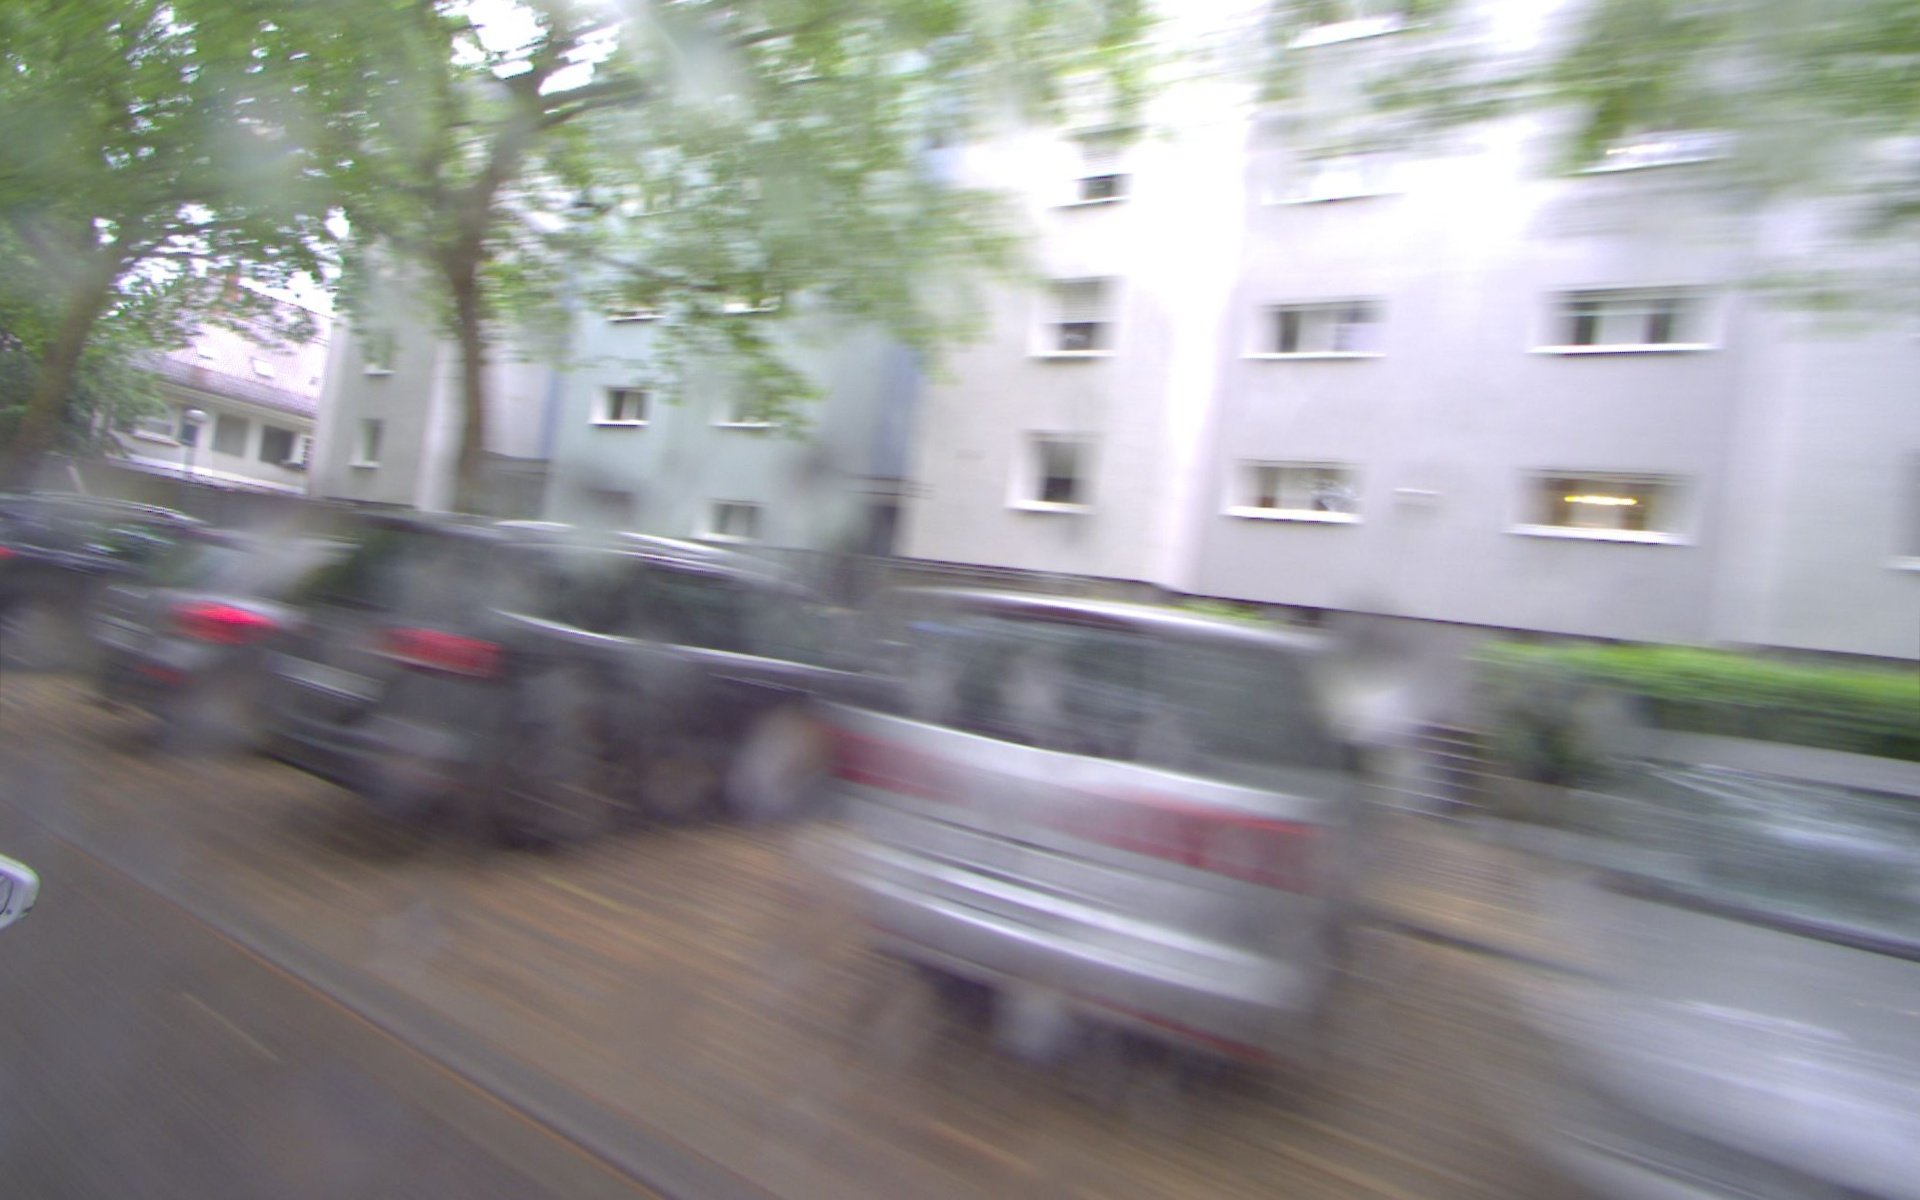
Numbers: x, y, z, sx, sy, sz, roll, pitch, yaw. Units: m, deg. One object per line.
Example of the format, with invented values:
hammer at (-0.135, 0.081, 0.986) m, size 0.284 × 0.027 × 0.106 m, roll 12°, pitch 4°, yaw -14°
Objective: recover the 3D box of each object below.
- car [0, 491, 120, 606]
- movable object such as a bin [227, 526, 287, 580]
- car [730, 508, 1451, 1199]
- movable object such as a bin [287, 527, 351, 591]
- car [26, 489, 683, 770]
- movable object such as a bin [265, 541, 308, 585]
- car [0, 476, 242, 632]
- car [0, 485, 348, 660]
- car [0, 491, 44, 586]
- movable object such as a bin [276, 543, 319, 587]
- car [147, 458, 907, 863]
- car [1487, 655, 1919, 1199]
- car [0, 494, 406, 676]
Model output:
car at (-15.220, -0.988, 14.701) m, size 1.750 × 1.547 × 4.053 m, roll 8°, pitch -2°, yaw 29°
movable object such as a bin at (-19.957, -1.326, 28.556) m, size 1.154 × 1.326 × 0.904 m, roll 8°, pitch -1°, yaw 32°
car at (1.073, 0.875, 4.849) m, size 1.771 × 1.746 × 3.997 m, roll 8°, pitch -3°, yaw 32°
movable object such as a bin at (-16.611, -1.068, 26.086) m, size 1.095 × 1.455 × 0.865 m, roll 8°, pitch -1°, yaw 32°
car at (-4.341, 0.368, 7.912) m, size 1.604 × 1.554 × 3.998 m, roll 8°, pitch -3°, yaw 32°
movable object such as a bin at (-18.573, -1.016, 27.754) m, size 0.611 × 1.079 × 0.688 m, roll 8°, pitch -1°, yaw 32°
car at (-12.158, -0.709, 12.943) m, size 1.881 × 1.674 × 4.221 m, roll 8°, pitch -2°, yaw 31°
car at (-9.936, -0.322, 11.858) m, size 1.717 × 1.602 × 4.222 m, roll 8°, pitch -2°, yaw 29°
car at (-17.630, -1.298, 15.988) m, size 1.834 × 1.531 × 4.108 m, roll 8°, pitch -2°, yaw 32°
movable object such as a bin at (-18.050, -0.950, 27.414) m, size 0.611 × 1.079 × 0.661 m, roll 8°, pitch -1°, yaw 32°
car at (-2.423, 0.472, 6.858) m, size 1.788 × 1.781 × 4.349 m, roll 8°, pitch -3°, yaw 32°
car at (2.752, 1.200, 3.128) m, size 1.770 × 1.529 × 3.999 m, roll 8°, pitch -3°, yaw 30°
car at (-7.923, -0.113, 9.831) m, size 1.656 × 1.459 × 4.043 m, roll 8°, pitch 0°, yaw 28°
